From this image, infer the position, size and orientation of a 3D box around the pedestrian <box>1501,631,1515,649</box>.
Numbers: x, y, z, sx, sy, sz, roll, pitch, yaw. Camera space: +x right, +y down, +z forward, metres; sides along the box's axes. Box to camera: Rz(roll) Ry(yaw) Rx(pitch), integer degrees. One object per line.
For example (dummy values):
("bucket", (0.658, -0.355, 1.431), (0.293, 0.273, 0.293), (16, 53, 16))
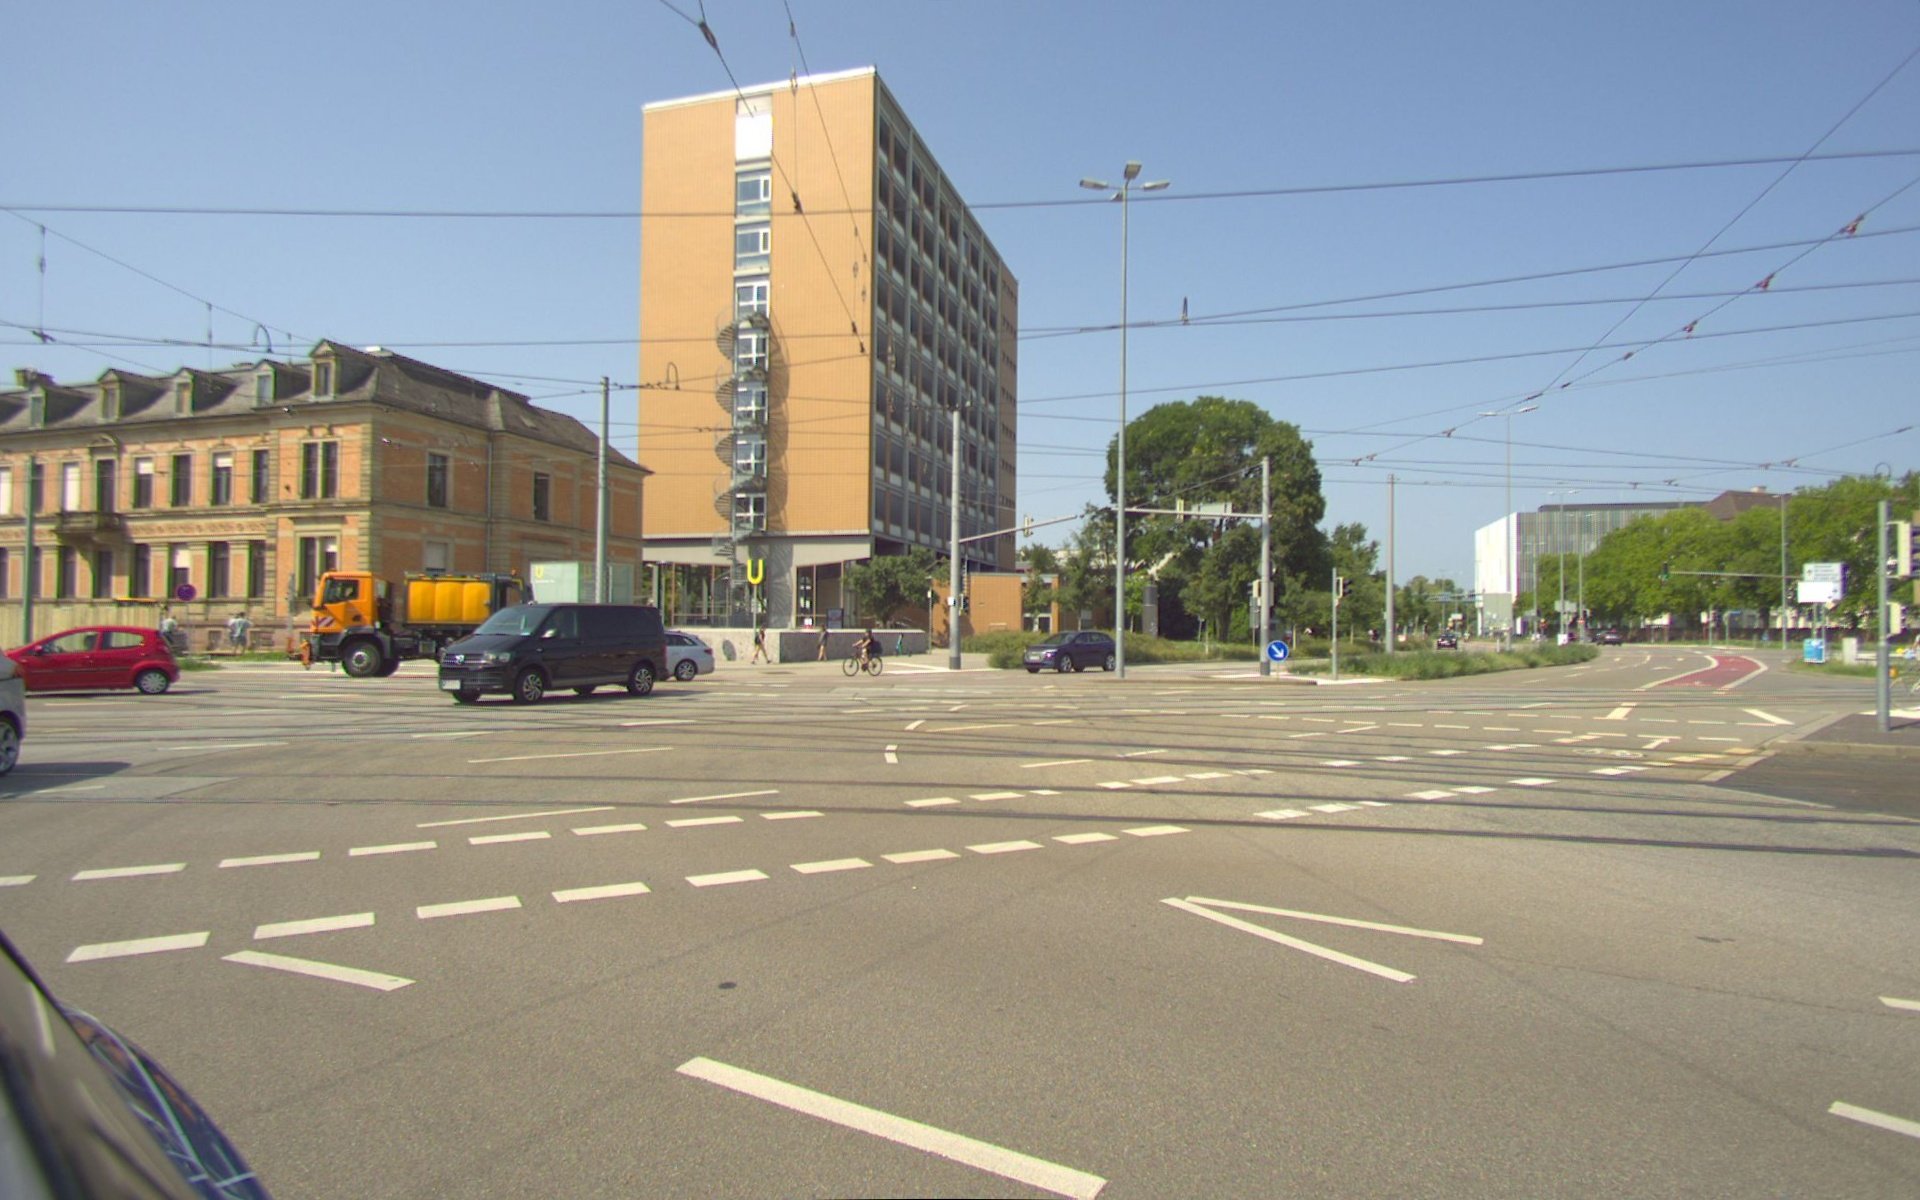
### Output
("pedestrian", (53.653, 3.918, 99.101), (0.969, 1.799, 1.101), (-2, -3, 44))

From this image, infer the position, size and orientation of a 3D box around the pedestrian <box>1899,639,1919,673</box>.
("pedestrian", (39.198, 2.292, 41.783), (0.458, 1.385, 0.347), (0, -2, 17))

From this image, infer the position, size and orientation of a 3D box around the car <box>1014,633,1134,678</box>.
("car", (4.482, 2.118, 39.379), (4.625, 1.653, 2.003), (2, -3, -40))

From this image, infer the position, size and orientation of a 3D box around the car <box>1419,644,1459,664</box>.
("car", (45.515, 5.094, 96.121), (3.938, 1.807, 2.003), (1, -4, -41))

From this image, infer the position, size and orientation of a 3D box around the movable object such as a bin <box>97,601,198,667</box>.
("movable object such as a bin", (-34.956, 1.464, 43.519), (4.436, 2.692, 1.800), (-1, -2, 29))

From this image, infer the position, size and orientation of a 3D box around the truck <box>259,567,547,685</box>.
("truck", (-16.386, 0.762, 30.427), (7.069, 3.254, 3.050), (-1, -3, -15))

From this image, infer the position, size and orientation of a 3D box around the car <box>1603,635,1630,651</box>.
("car", (71.881, 4.702, 110.762), (1.901, 1.665, 4.595), (-2, -3, 39))

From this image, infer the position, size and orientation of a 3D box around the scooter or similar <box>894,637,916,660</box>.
("scooter or similar", (-2.806, 2.478, 51.478), (0.443, 1.166, 1.129), (-2, -3, 44))

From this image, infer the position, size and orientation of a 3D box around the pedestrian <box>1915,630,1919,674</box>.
("pedestrian", (39.739, 2.140, 41.534), (0.556, 1.830, 0.557), (0, -2, 17))

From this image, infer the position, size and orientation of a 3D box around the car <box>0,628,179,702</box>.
("car", (-18.171, 1.309, 20.777), (3.305, 1.419, 1.520), (2, -3, -39))

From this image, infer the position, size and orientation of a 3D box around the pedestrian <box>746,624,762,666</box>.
("pedestrian", (-8.635, 1.893, 42.364), (0.449, 1.733, 0.561), (1, -4, -33))

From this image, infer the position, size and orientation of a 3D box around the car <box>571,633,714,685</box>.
("car", (-8.767, 1.601, 28.073), (3.451, 1.349, 1.520), (2, -3, -39))

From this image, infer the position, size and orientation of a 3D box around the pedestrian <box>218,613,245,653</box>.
("pedestrian", (-31.227, 1.428, 43.402), (0.674, 1.685, 0.686), (1, -2, -14))

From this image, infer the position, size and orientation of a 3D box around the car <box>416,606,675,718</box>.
("car", (-8.139, 1.153, 20.436), (1.890, 1.945, 4.845), (1, -1, 24))

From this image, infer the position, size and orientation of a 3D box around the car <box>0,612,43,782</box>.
("car", (-9.563, 0.862, 7.801), (1.665, 1.607, 4.371), (1, -2, -11))

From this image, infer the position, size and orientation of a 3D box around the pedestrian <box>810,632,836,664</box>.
("pedestrian", (-6.097, 2.121, 45.121), (0.784, 1.405, 0.839), (-1, -2, 32))

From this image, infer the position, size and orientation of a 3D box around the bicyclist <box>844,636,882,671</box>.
("bicyclist", (-3.570, 1.964, 37.253), (1.088, 1.276, 0.859), (2, -3, -38))

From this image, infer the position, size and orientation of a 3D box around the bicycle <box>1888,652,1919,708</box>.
("bicycle", (19.299, 1.552, 19.552), (1.908, 1.077, 0.608), (-1, -2, 34))

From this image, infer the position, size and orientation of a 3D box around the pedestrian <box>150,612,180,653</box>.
("pedestrian", (-32.394, 1.329, 41.246), (0.674, 1.685, 0.686), (1, -2, -14))

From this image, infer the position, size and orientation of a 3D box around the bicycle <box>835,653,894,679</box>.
("bicycle", (-3.505, 2.425, 37.154), (2.135, 0.906, 0.643), (2, -3, -38))

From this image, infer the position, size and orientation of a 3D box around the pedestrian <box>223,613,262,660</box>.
("pedestrian", (-28.257, 1.457, 39.868), (1.022, 1.827, 0.686), (1, -2, -14))

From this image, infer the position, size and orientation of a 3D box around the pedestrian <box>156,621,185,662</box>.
("pedestrian", (-32.279, 1.699, 41.368), (0.674, 1.685, 0.686), (1, -2, -14))
